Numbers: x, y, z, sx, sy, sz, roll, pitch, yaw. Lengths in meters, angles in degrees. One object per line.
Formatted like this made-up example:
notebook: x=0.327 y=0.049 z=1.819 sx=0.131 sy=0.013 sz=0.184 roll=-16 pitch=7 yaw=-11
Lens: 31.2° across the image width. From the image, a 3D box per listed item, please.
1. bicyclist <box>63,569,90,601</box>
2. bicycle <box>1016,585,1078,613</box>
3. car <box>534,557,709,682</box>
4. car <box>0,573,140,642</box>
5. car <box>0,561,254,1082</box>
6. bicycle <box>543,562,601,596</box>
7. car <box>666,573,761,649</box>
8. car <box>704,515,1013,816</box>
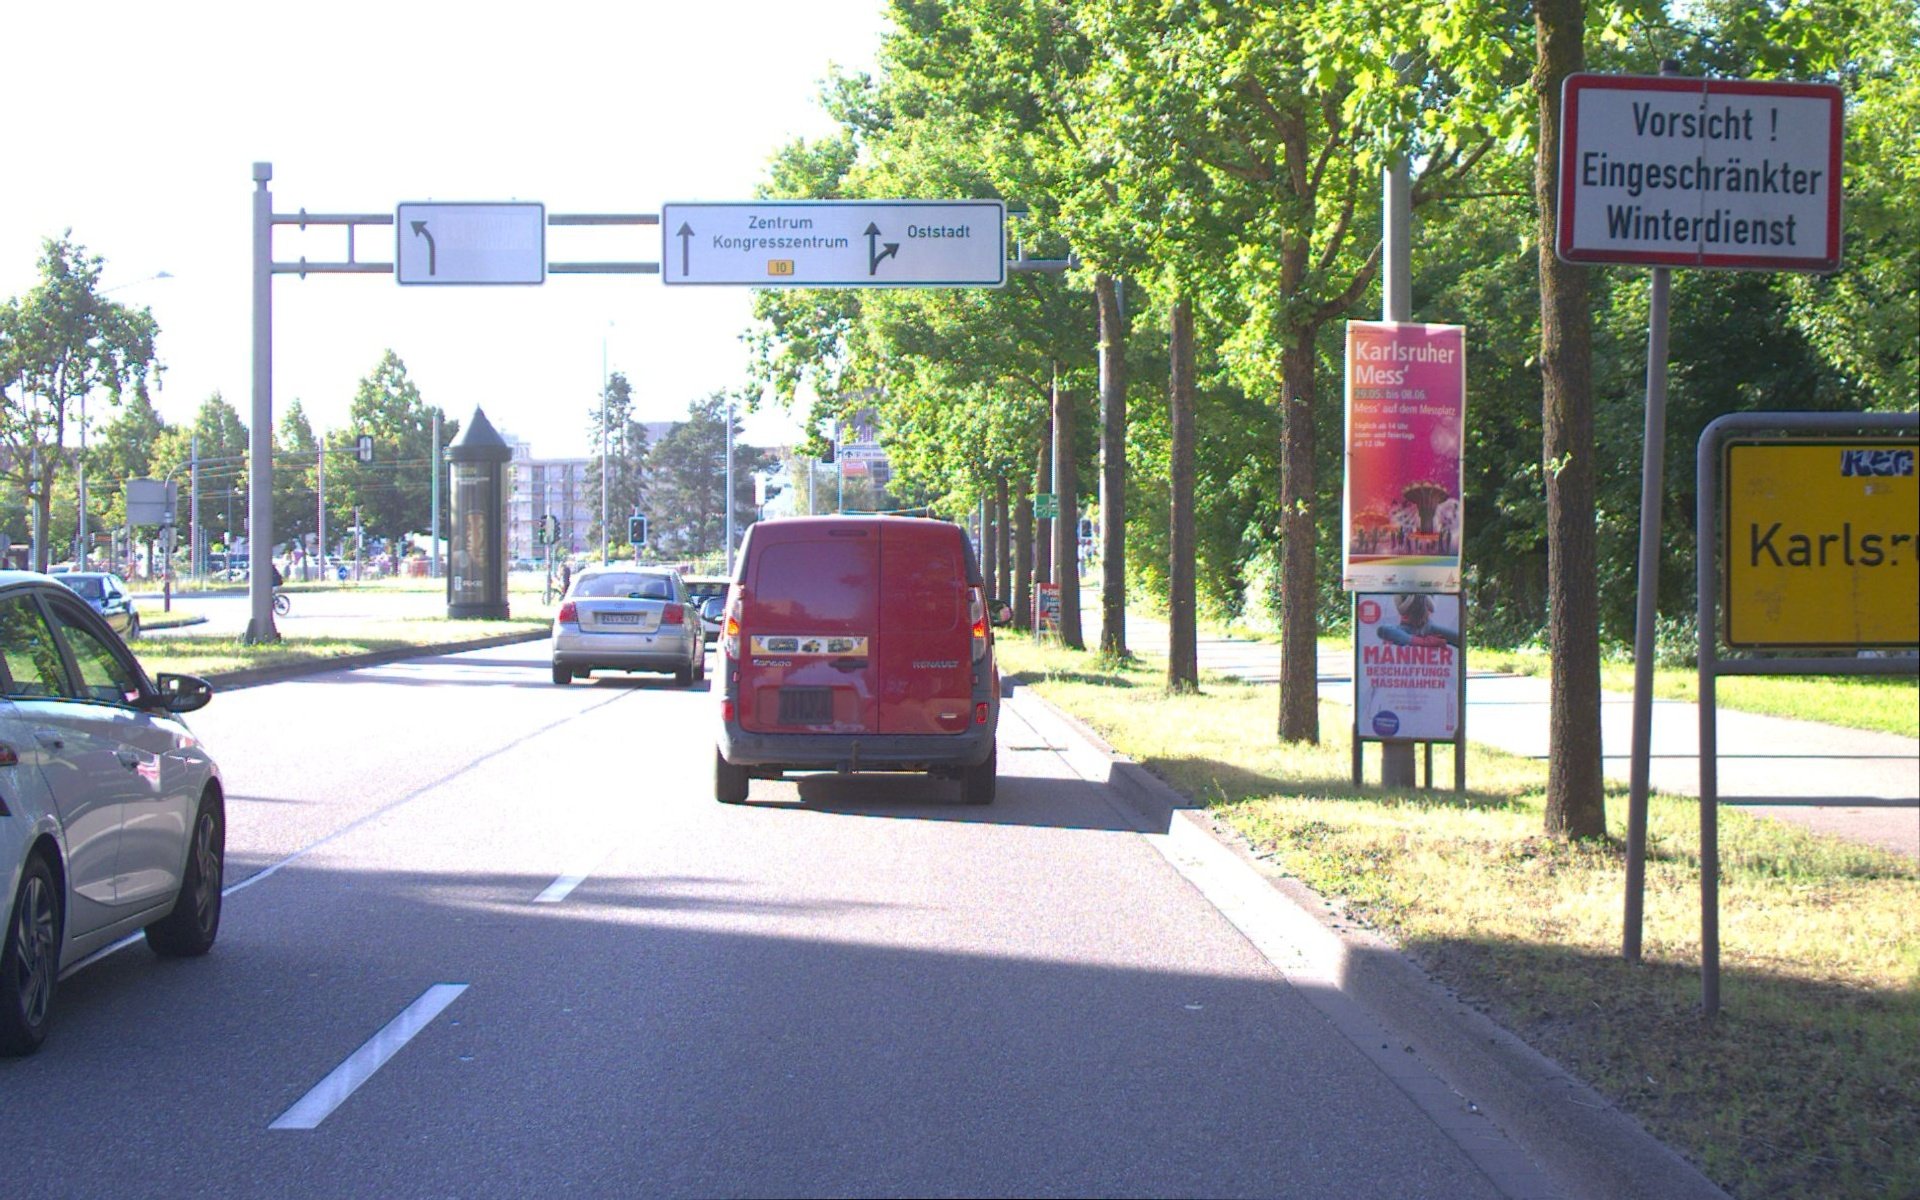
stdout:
bicyclist: x=-30.547 y=-0.516 z=118.886 sx=0.735 sy=1.103 sz=0.604 roll=0 pitch=0 yaw=12
bicycle: x=3.089 y=-0.037 z=121.443 sx=2.119 sy=0.955 sz=0.789 roll=0 pitch=0 yaw=-33
car: x=-4.224 y=0.214 z=43.481 sx=1.841 sy=1.451 sz=4.162 roll=1 pitch=1 yaw=-1
car: x=-15.312 y=0.112 z=58.696 sx=1.827 sy=1.107 sz=4.175 roll=0 pitch=1 yaw=-3
car: x=-3.596 y=0.592 z=11.334 sx=1.778 sy=1.404 sz=4.075 roll=1 pitch=1 yaw=-1
bicycle: x=-13.416 y=-0.719 z=118.838 sx=1.958 sy=1.162 sz=0.517 roll=0 pitch=0 yaw=-2
car: x=-4.691 y=0.191 z=65.797 sx=1.661 sy=1.393 sz=3.559 roll=0 pitch=1 yaw=-2
car: x=-0.663 y=0.363 z=22.503 sx=1.806 sy=1.753 sz=4.006 roll=1 pitch=1 yaw=-2
